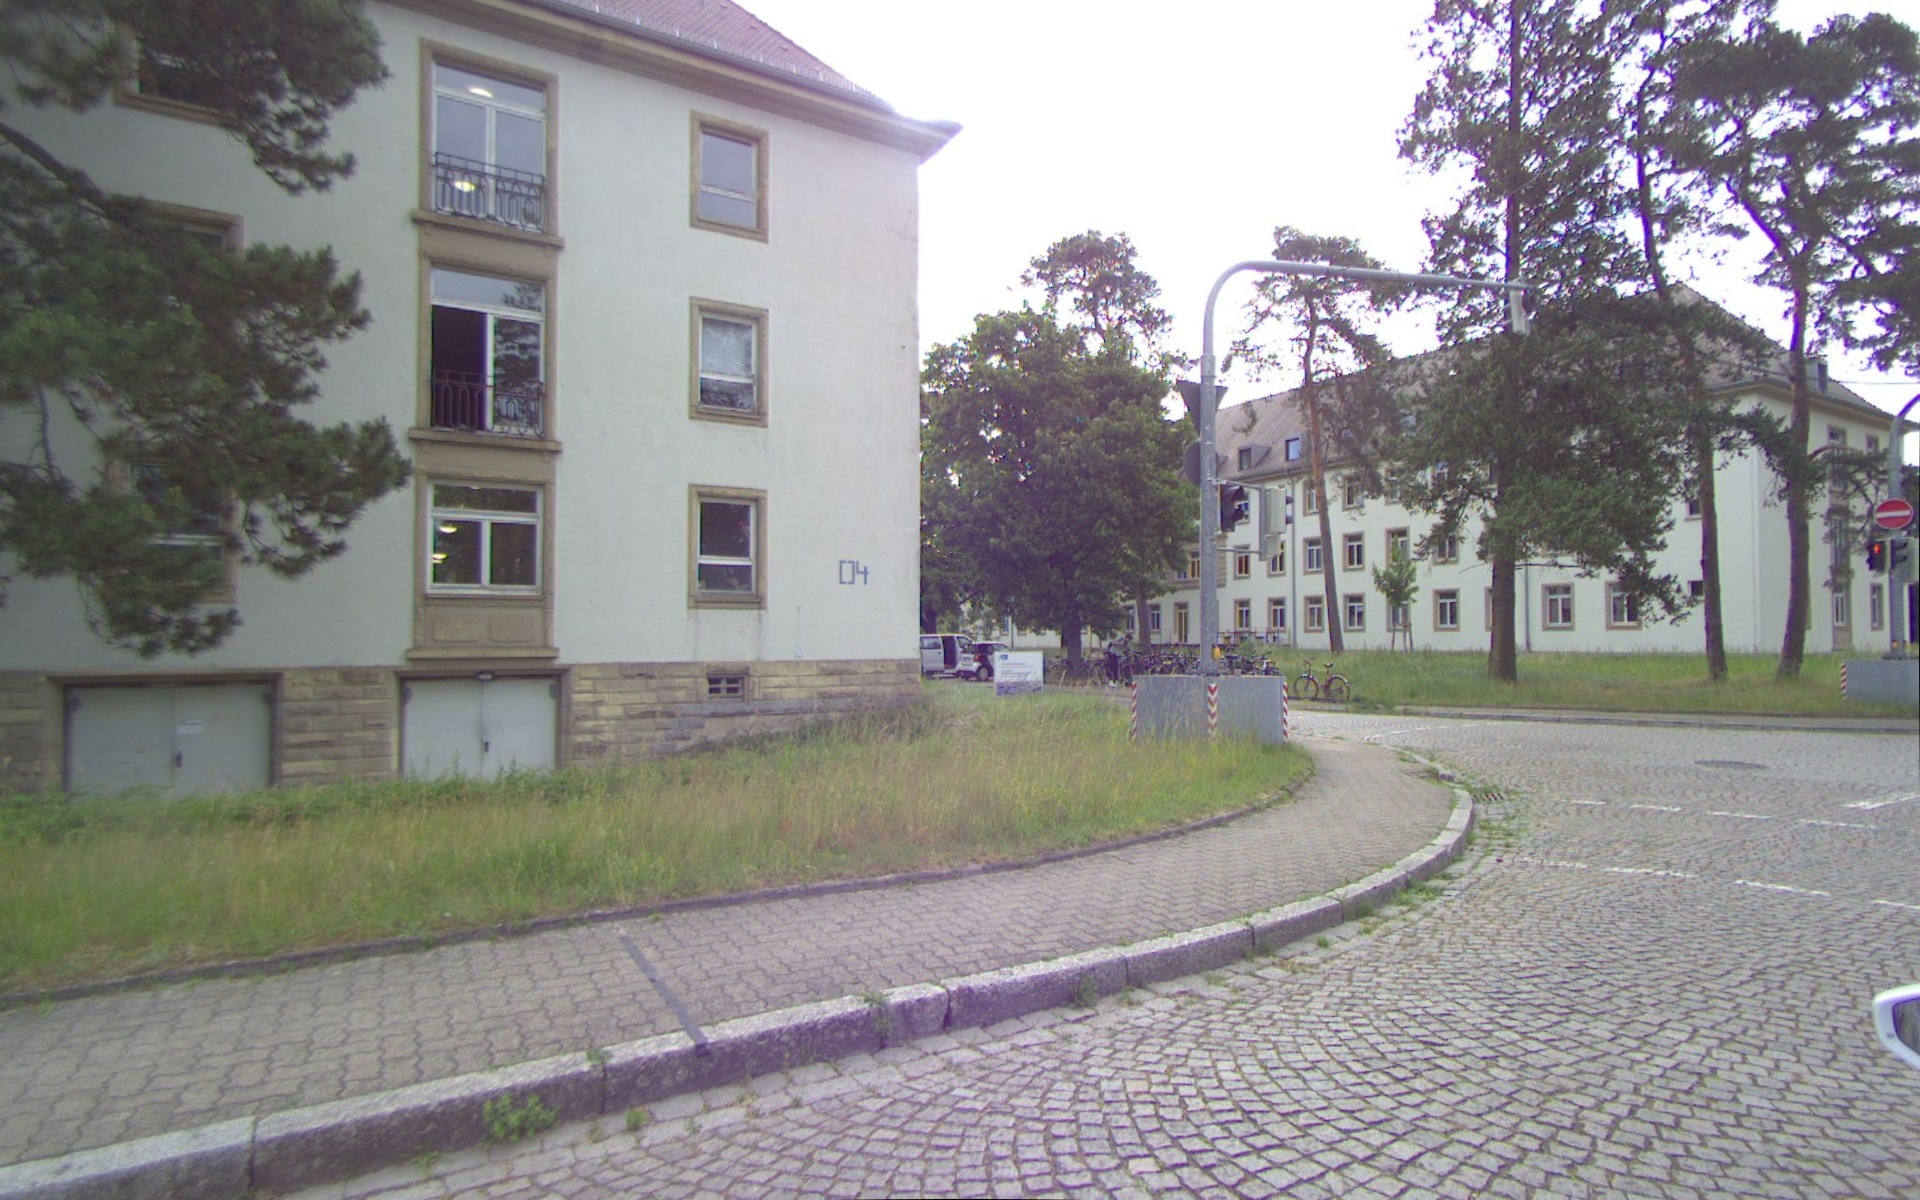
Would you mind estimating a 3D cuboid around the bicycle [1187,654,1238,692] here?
[{"bbox_3d":[7.500,2.152,29.781,1.567,1.093,0.512,1,-3,-31],"label":"bicycle"}]

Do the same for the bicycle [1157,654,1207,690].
[{"bbox_3d":[6.818,2.194,30.829,1.567,1.093,0.512,1,-3,-31],"label":"bicycle"}]

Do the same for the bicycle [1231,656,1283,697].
[{"bbox_3d":[8.362,2.137,28.270,1.569,1.093,0.511,2,-3,-34],"label":"bicycle"}]

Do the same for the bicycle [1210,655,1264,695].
[{"bbox_3d":[7.949,2.141,28.810,1.565,1.093,0.512,1,-3,-28],"label":"bicycle"}]

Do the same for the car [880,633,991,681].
[{"bbox_3d":[-1.004,2.422,43.543,4.878,1.977,1.839,2,-2,-44],"label":"car"}]

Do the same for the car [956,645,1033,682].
[{"bbox_3d":[1.404,2.566,40.996,2.756,1.446,1.509,2,-2,-31],"label":"car"}]

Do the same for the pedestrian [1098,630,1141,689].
[{"bbox_3d":[5.140,1.906,32.424,1.135,1.812,1.064,-1,-2,-2],"label":"pedestrian"}]

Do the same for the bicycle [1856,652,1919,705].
[{"bbox_3d":[19.886,1.638,21.122,0.510,1.079,1.457,0,-2,-32],"label":"bicycle"}]

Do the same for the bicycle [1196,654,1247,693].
[{"bbox_3d":[7.677,2.149,29.466,1.567,1.093,0.512,1,-3,-31],"label":"bicycle"}]

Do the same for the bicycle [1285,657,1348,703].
[{"bbox_3d":[8.859,1.974,25.005,0.510,1.079,1.457,1,-3,-32],"label":"bicycle"}]

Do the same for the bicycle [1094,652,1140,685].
[{"bbox_3d":[5.256,2.277,33.572,1.567,1.093,0.512,1,-3,-31],"label":"bicycle"}]

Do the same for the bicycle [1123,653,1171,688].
[{"bbox_3d":[5.990,2.257,32.233,1.567,1.093,0.512,1,-3,-31],"label":"bicycle"}]

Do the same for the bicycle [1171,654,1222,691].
[{"bbox_3d":[7.146,2.167,30.302,1.567,1.093,0.512,1,-3,-31],"label":"bicycle"}]

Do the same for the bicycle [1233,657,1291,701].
[{"bbox_3d":[7.902,2.059,26.332,0.510,1.093,1.457,1,-3,-32],"label":"bicycle"}]

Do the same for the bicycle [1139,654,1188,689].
[{"bbox_3d":[6.388,2.234,31.544,1.567,1.093,0.512,1,-3,-31],"label":"bicycle"}]

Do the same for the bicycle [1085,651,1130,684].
[{"bbox_3d":[4.997,2.281,34.000,1.567,1.093,0.512,1,-3,-31],"label":"bicycle"}]

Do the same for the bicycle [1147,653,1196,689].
[{"bbox_3d":[6.586,2.201,31.216,1.567,1.093,0.512,1,-3,-31],"label":"bicycle"}]
